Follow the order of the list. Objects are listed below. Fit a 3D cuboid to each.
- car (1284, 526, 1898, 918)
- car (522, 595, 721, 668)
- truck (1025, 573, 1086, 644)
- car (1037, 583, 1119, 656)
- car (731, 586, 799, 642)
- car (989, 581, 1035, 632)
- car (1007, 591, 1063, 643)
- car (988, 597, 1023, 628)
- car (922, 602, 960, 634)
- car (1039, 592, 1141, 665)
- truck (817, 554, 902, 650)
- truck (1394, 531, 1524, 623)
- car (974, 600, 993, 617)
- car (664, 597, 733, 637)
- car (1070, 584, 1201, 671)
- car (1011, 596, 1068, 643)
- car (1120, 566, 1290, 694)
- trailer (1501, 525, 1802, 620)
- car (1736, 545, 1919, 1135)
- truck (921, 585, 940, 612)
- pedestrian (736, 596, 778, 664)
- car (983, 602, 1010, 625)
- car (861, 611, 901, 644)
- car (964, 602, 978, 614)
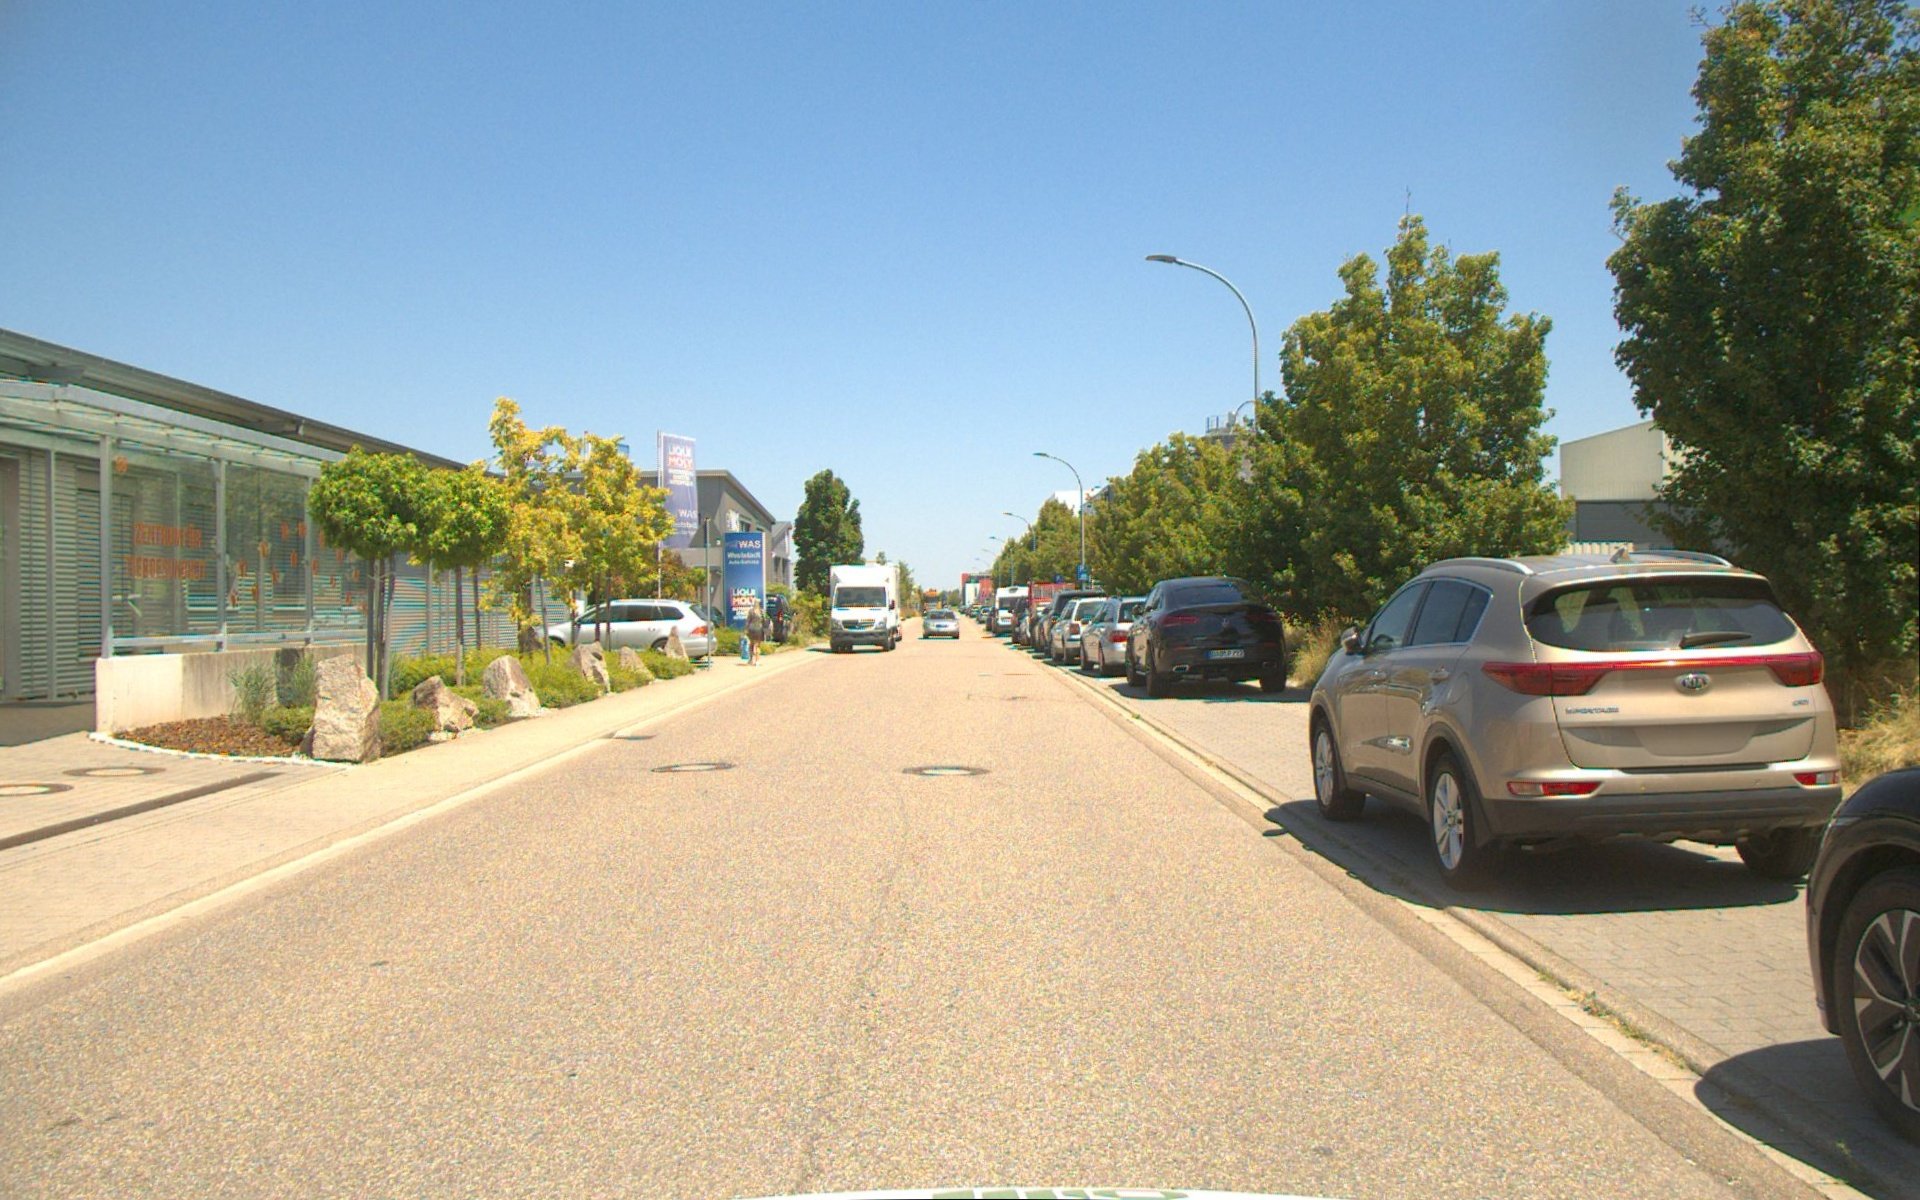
[{"bbox_3d":[3.273,0.539,9.652,1.768,1.664,4.457,-3,0,-1],"label":"car"},{"bbox_3d":[-7.697,0.711,37.946,4.176,1.544,1.865,-1,0,-2],"label":"car"},{"bbox_3d":[3.199,0.299,55.962,1.645,2.219,4.389,-3,0,-1],"label":"truck"},{"bbox_3d":[3.110,0.492,44.423,1.774,1.755,4.773,-3,0,0],"label":"car"},{"bbox_3d":[-7.200,0.525,61.501,1.953,1.991,5.217,-1,-1,-1],"label":"car"},{"bbox_3d":[2.739,0.335,87.581,2.221,2.541,6.153,-2,0,1],"label":"car"},{"bbox_3d":[2.957,0.685,66.219,1.953,1.917,5.155,-3,0,0],"label":"car"},{"bbox_3d":[2.859,0.828,104.675,1.953,1.857,4.353,-2,-1,-1],"label":"car"},{"bbox_3d":[-0.949,0.896,82.396,1.747,1.447,4.412,-3,-1,-1],"label":"car"},{"bbox_3d":[2.988,0.622,38.859,1.680,1.508,4.770,-3,0,-3],"label":"car"},{"bbox_3d":[-3.289,0.086,55.716,2.313,2.909,6.414,-3,-1,0],"label":"truck"},{"bbox_3d":[22.483,-1.005,74.728,4.959,3.943,2.804,-1,-1,0],"label":"truck"},{"bbox_3d":[2.168,0.819,153.927,1.683,1.475,3.645,-2,0,-1],"label":"car"},{"bbox_3d":[-9.799,0.636,62.248,1.892,1.441,4.768,0,0,-1],"label":"car"},{"bbox_3d":[3.387,0.509,32.847,1.769,1.508,4.770,-3,0,-3],"label":"car"},{"bbox_3d":[2.861,0.705,60.356,1.703,1.557,3.998,-3,0,-2],"label":"car"},{"bbox_3d":[3.718,0.419,25.869,1.909,1.730,4.545,-3,0,0],"label":"car"},{"bbox_3d":[31.128,-1.209,74.777,12.360,3.943,2.803,-1,-1,0],"label":"trailer"},{"bbox_3d":[3.538,0.585,2.901,1.867,1.555,4.626,-3,0,-4],"label":"car"},{"bbox_3d":[-4.156,-0.262,232.263,2.399,3.574,8.271,-3,0,-1],"label":"truck"},{"bbox_3d":[-4.848,0.712,39.511,0.880,1.602,0.785,1,0,0],"label":"pedestrian"},{"bbox_3d":[2.606,0.981,117.074,1.673,1.531,4.708,-2,-1,4],"label":"car"},{"bbox_3d":[-3.675,1.256,77.245,1.694,1.484,4.491,-1,-1,-1],"label":"car"},{"bbox_3d":[1.318,0.942,200.993,1.553,1.434,3.499,-2,0,-1],"label":"car"}]
